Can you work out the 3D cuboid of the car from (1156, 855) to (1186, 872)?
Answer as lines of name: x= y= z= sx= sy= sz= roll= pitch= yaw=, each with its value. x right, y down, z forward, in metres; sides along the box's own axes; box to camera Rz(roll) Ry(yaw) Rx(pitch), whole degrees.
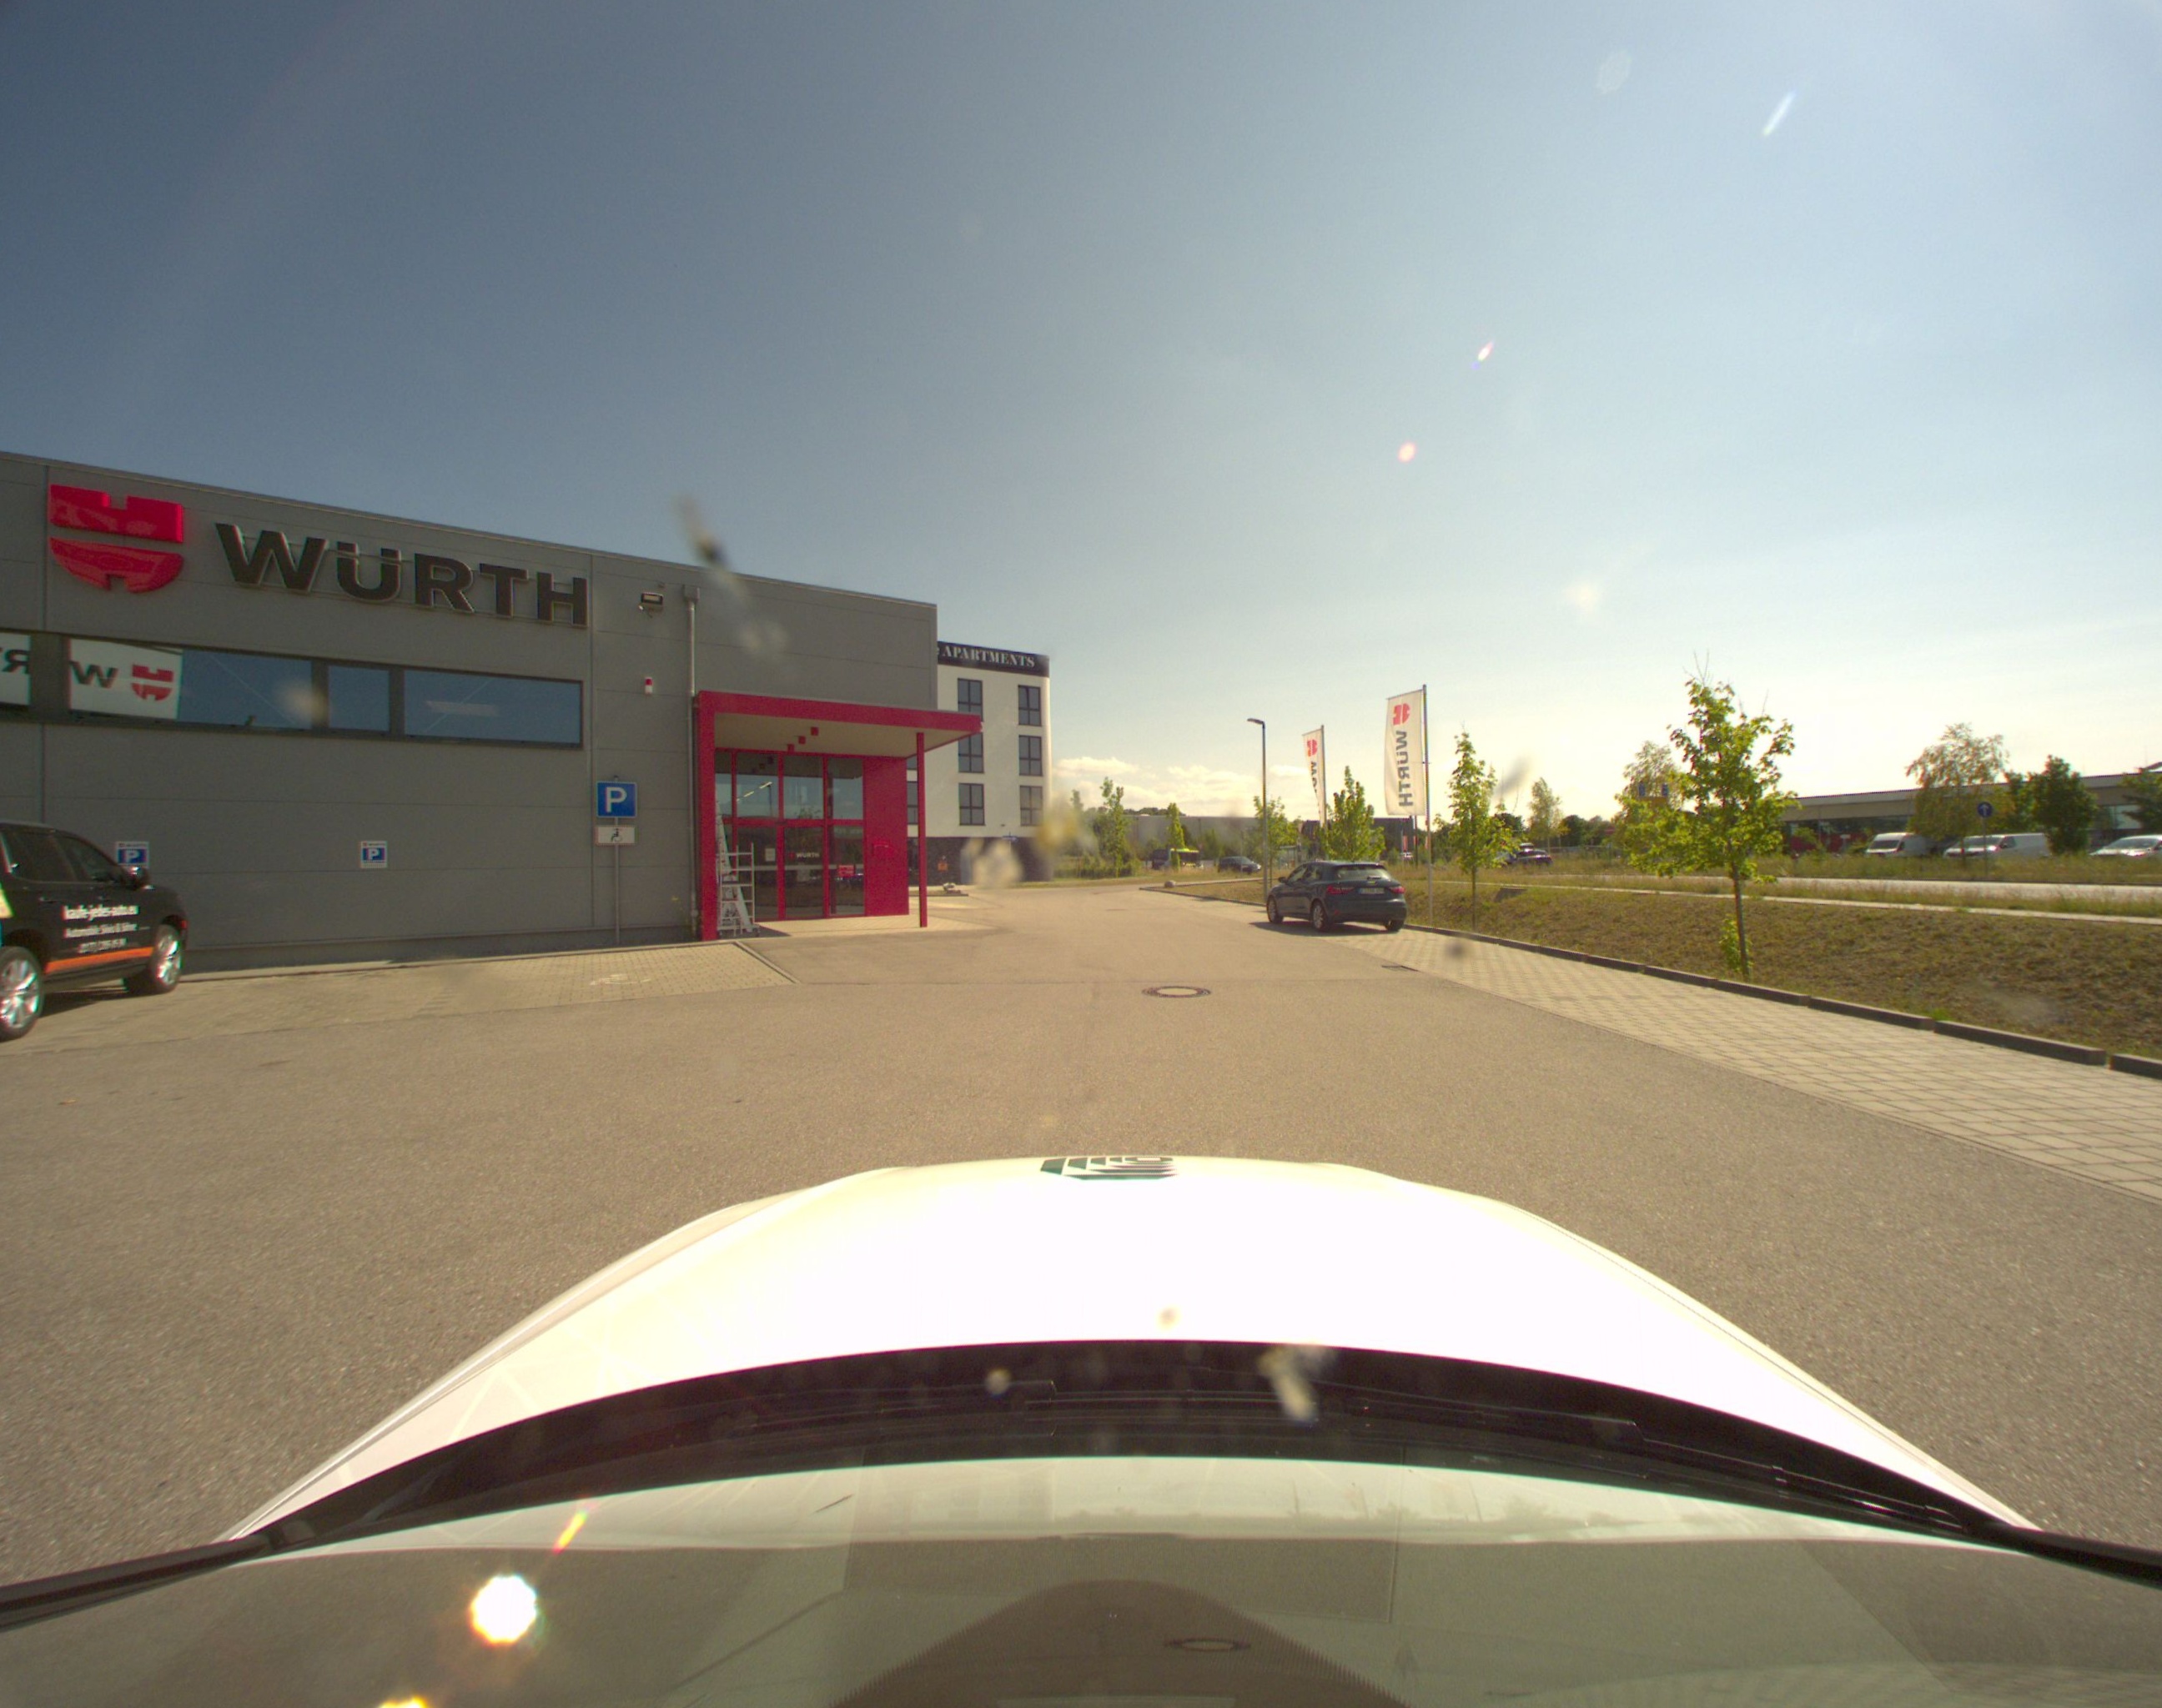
car: x=10.007 y=1.086 z=90.960 sx=1.829 sy=1.860 sz=3.972 roll=0 pitch=-1 yaw=-20

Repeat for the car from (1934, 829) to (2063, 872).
car: x=46.585 y=-0.179 z=41.371 sx=5.217 sy=2.014 sz=2.078 roll=-1 pitch=-1 yaw=-13

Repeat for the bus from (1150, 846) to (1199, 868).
bus: x=12.657 y=0.363 z=108.737 sx=2.548 sy=2.735 sz=11.638 roll=-1 pitch=0 yaw=27

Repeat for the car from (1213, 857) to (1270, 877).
car: x=12.687 y=1.023 z=64.665 sx=1.951 sy=1.551 sz=4.719 roll=0 pitch=-1 yaw=-27

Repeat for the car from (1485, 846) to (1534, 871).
car: x=28.263 y=0.298 z=53.685 sx=1.974 sy=1.517 sz=4.223 roll=-1 pitch=-1 yaw=40

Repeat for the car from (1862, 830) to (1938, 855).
car: x=67.902 y=-0.934 z=67.479 sx=6.706 sy=1.977 sz=2.211 roll=-1 pitch=-1 yaw=-25

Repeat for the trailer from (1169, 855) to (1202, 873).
trailer: x=11.181 y=1.047 z=87.277 sx=1.829 sy=1.860 sz=3.972 roll=0 pitch=-1 yaw=-20

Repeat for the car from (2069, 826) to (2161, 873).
car: x=47.605 y=-0.224 z=36.253 sx=5.093 sy=2.014 sz=2.160 roll=-1 pitch=-1 yaw=-7

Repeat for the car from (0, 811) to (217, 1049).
car: x=-10.674 y=0.655 z=7.727 sx=2.038 sy=1.939 sz=5.327 roll=-1 pitch=0 yaw=-31

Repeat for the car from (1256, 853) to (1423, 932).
car: x=5.345 y=0.733 z=17.482 sx=1.838 sy=1.449 sz=4.217 roll=-1 pitch=0 yaw=-7
